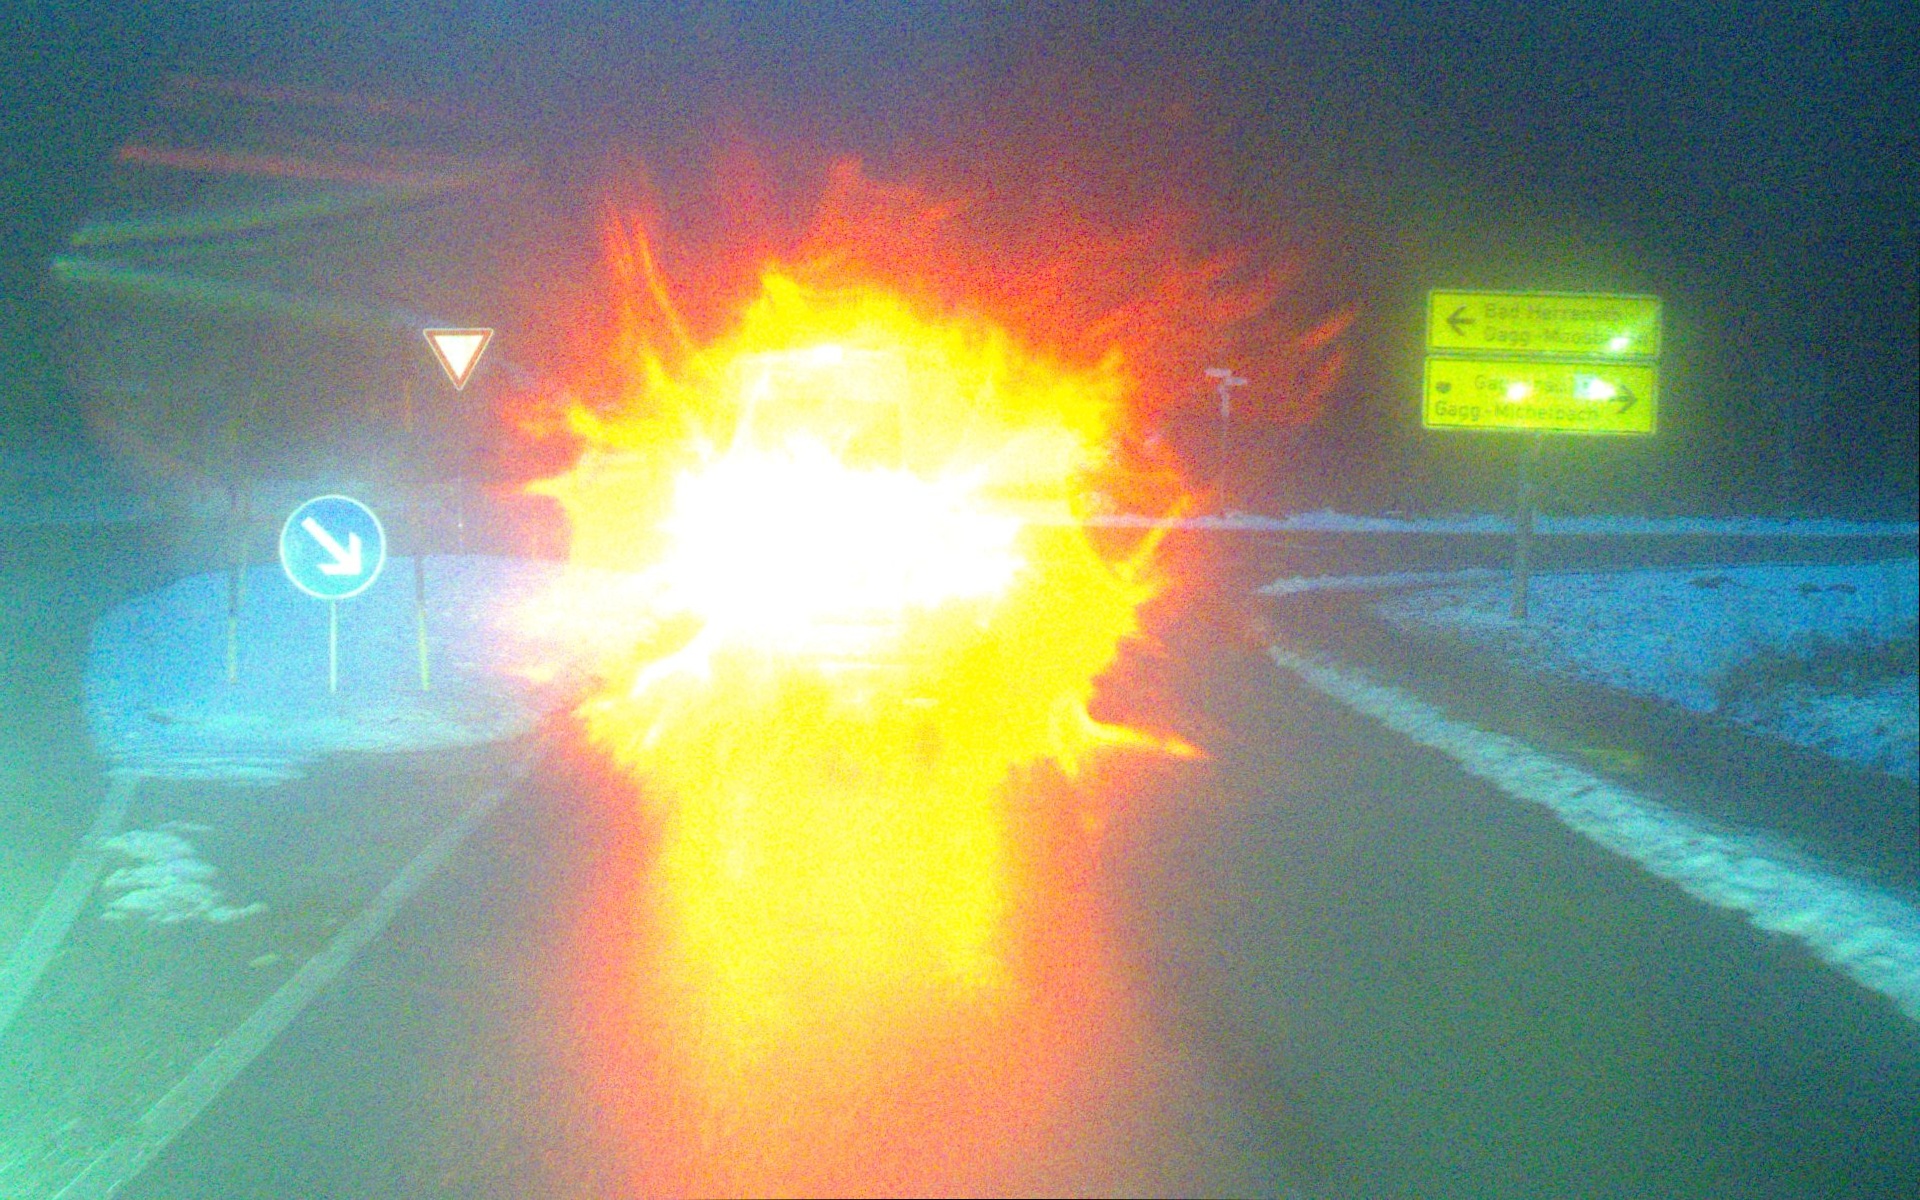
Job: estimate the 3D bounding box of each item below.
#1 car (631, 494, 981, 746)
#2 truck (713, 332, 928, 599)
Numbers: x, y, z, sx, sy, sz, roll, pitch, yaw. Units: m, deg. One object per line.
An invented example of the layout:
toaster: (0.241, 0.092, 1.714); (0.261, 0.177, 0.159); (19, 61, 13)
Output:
car: (-0.942, 0.055, 21.202); (1.921, 1.272, 4.001); (1, 3, -2)
truck: (-1.657, -1.498, 38.790); (2.075, 2.736, 5.320); (2, 2, -5)
